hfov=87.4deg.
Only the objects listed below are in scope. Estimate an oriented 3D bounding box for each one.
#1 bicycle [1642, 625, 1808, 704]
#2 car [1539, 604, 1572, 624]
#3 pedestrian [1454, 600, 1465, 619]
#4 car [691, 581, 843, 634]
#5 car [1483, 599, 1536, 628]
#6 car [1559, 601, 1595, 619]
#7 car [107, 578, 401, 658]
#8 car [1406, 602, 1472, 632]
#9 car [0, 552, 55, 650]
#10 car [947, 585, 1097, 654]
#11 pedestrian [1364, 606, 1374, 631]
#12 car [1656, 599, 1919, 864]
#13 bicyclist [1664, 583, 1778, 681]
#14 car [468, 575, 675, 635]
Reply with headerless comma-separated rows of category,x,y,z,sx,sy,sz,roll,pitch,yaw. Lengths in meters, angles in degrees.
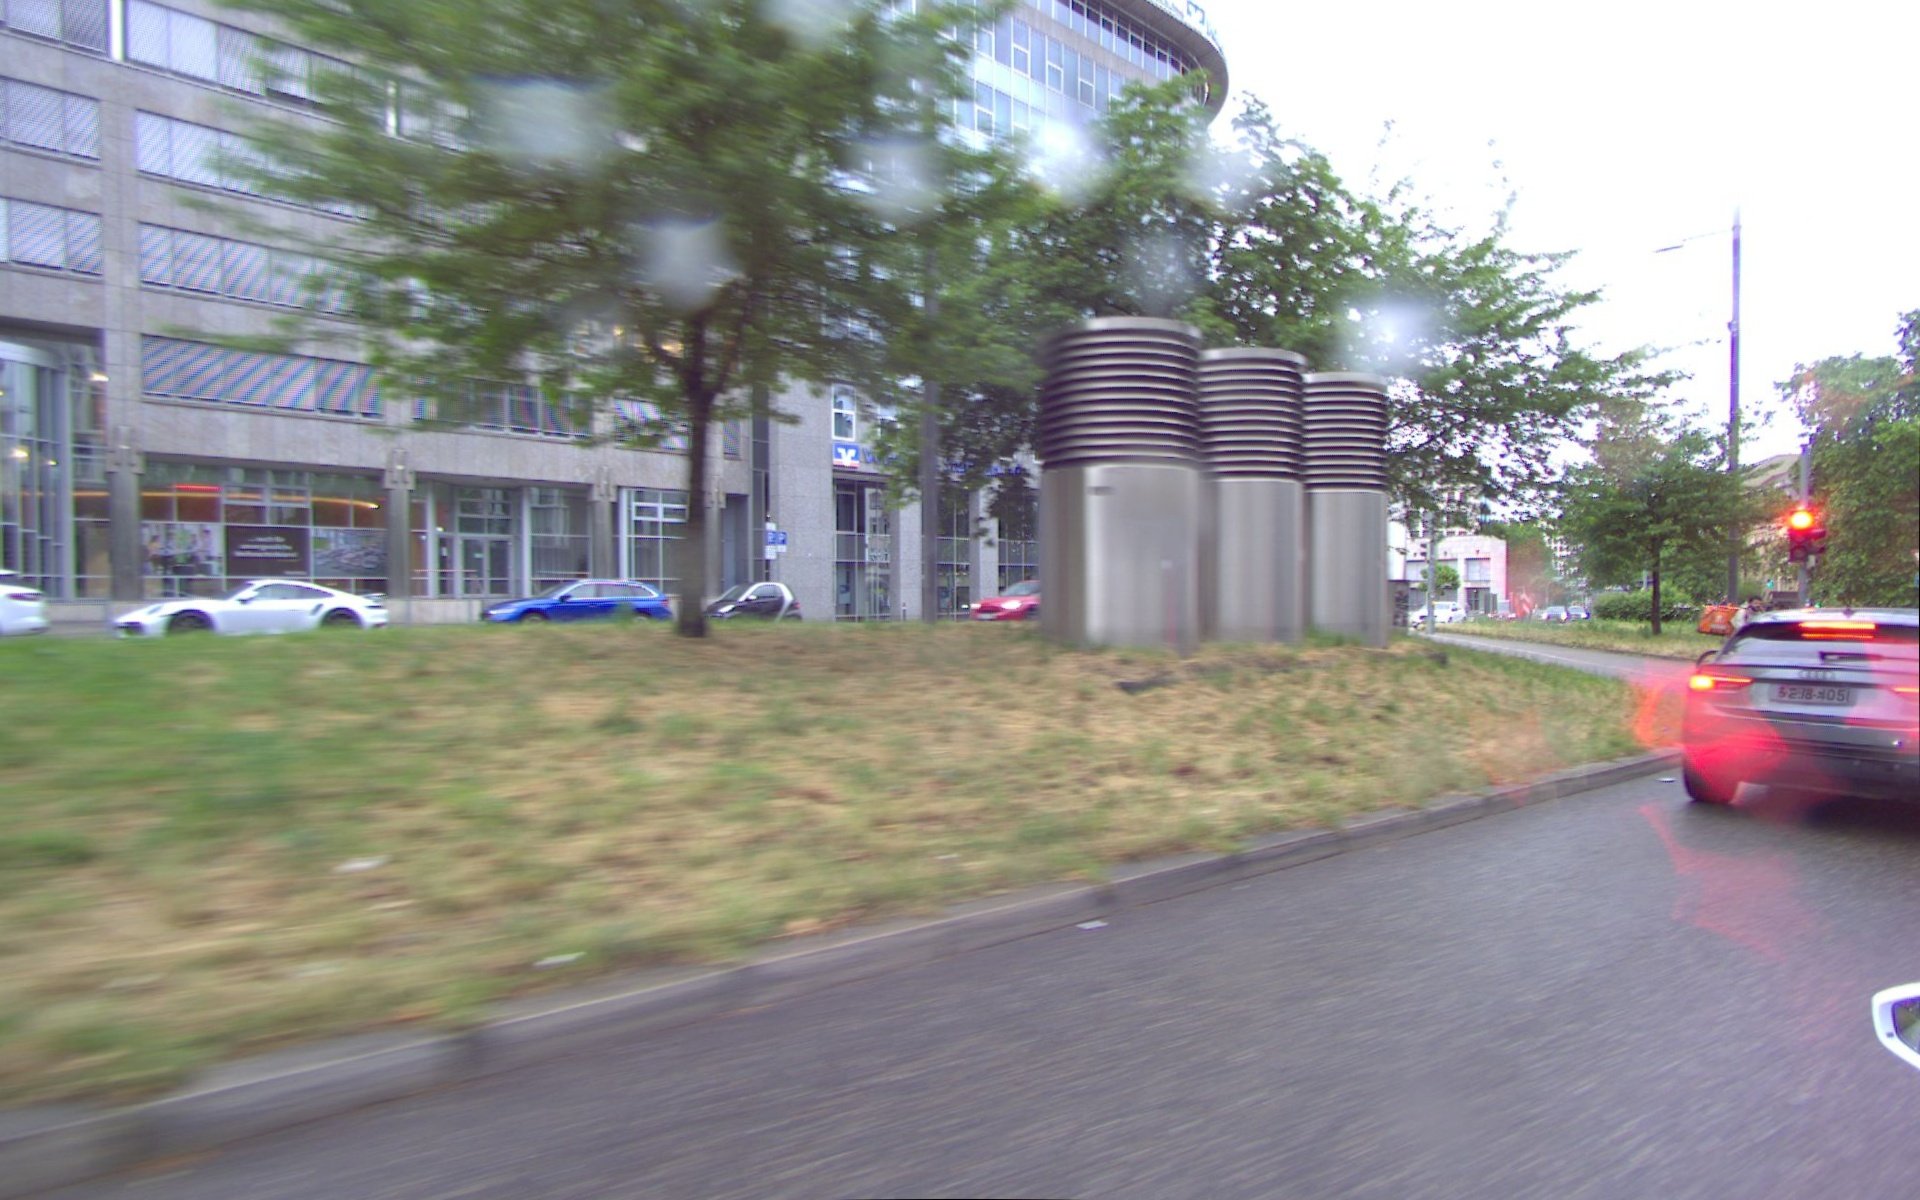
bicycle,13.126,1.080,17.326,0.995,1.129,2.060,2,2,-16
car,46.733,1.071,78.768,1.781,1.506,3.985,3,1,37
pedestrian,54.748,1.066,110.099,0.735,2.041,0.782,1,2,-42
car,-5.500,0.208,28.900,3.985,1.420,1.760,0,0,-42
car,34.641,0.853,63.230,1.707,1.750,4.553,1,0,45
car,55.345,0.937,90.013,1.786,1.506,4.356,3,2,44
car,-13.900,0.325,19.990,4.645,1.420,1.761,0,0,-40
car,25.087,0.875,52.540,4.166,1.495,1.801,1,0,-45
car,-18.051,-0.009,16.322,4.872,1.644,1.761,1,1,-40
car,1.726,0.502,27.126,3.974,1.723,1.925,1,0,-45
pedestrian,30.652,1.391,75.252,0.610,1.786,0.724,-2,-2,28
car,7.298,0.826,8.027,4.218,1.638,1.832,0,1,-40
bicyclist,13.140,0.536,17.372,0.998,1.603,1.132,2,2,-16
car,-9.580,0.124,24.987,4.444,1.343,1.874,1,0,-43
